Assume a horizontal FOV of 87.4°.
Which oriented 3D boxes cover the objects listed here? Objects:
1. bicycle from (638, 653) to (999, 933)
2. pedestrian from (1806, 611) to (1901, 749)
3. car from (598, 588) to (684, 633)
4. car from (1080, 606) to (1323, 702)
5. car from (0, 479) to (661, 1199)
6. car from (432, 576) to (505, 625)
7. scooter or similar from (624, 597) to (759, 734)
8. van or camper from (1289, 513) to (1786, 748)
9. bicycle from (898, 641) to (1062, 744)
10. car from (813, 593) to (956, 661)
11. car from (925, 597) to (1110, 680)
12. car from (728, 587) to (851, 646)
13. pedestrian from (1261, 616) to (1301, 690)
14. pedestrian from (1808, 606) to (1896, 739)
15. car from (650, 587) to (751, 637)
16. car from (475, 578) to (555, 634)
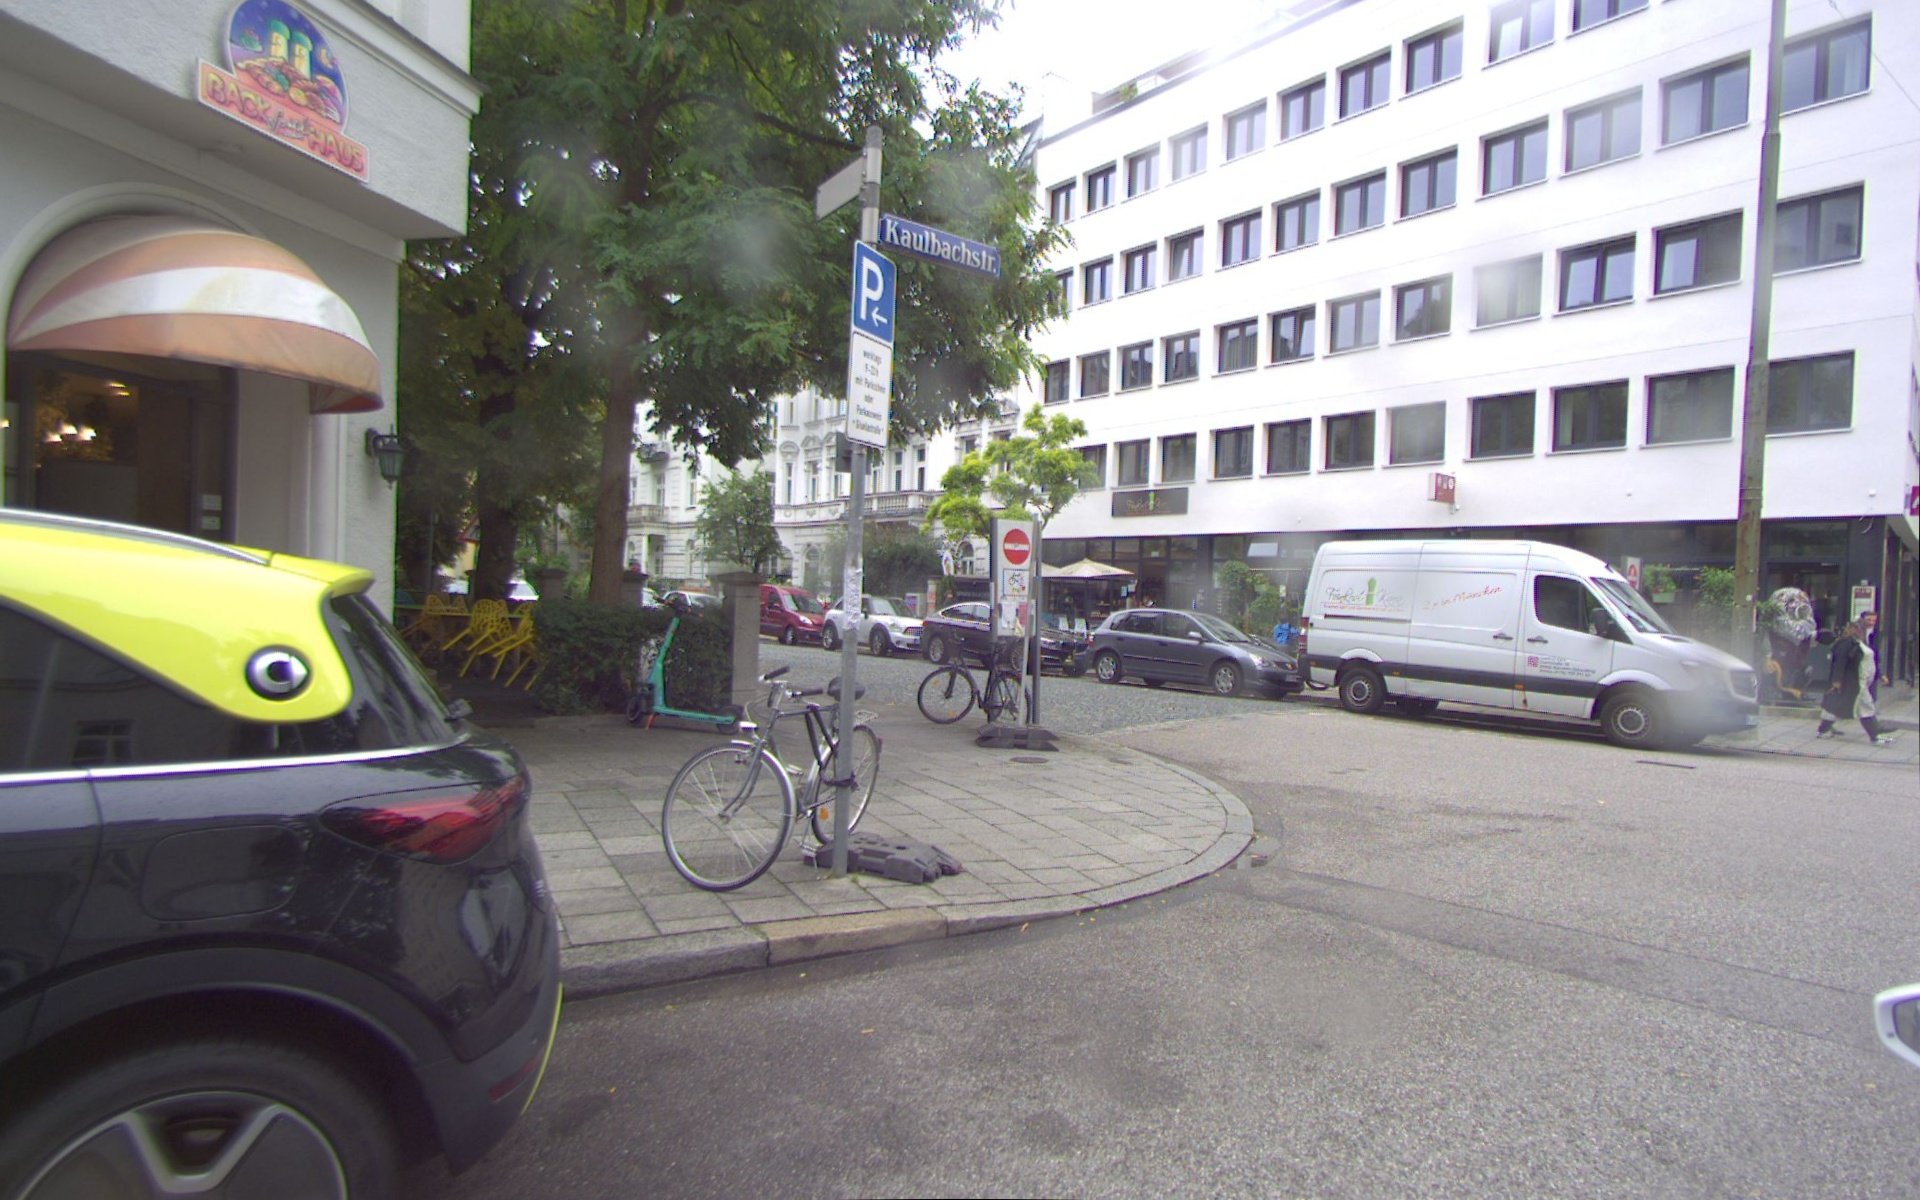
[{"bbox_3d":[-0.652,0.856,5.125,0.884,1.059,1.651,4,1,36],"label":"bicycle"},{"bbox_3d":[12.398,1.078,13.966,0.780,1.770,0.769,4,4,34],"label":"pedestrian"},{"bbox_3d":[-12.766,0.383,40.106,1.897,1.629,4.090,-1,2,-40],"label":"car"},{"bbox_3d":[4.355,0.957,18.554,1.788,1.447,4.014,5,-2,-43],"label":"car"},{"bbox_3d":[-2.739,0.597,1.853,3.899,1.618,1.669,2,-2,-30],"label":"car"},{"bbox_3d":[-18.981,-0.017,38.701,1.830,1.796,3.957,0,1,-37],"label":"car"},{"bbox_3d":[-2.580,0.623,9.632,1.169,1.232,0.554,2,2,-18],"label":"scooter or similar"},{"bbox_3d":[7.882,0.345,14.439,1.858,2.712,5.857,4,-1,-39],"label":"van or camper"},{"bbox_3d":[0.218,0.995,11.207,1.537,0.959,0.897,4,0,34],"label":"bicycle"},{"bbox_3d":[-2.076,0.665,26.530,1.784,1.564,4.094,4,-1,-37],"label":"car"},{"bbox_3d":[1.177,0.810,22.276,1.784,1.564,4.092,4,-1,-38],"label":"car"},{"bbox_3d":[-5.276,0.481,30.741,1.897,1.629,4.090,2,0,-40],"label":"car"},{"bbox_3d":[6.851,1.119,21.443,0.580,1.501,0.653,4,0,4],"label":"pedestrian"},{"bbox_3d":[12.915,1.019,14.566,0.767,1.808,0.617,4,4,34],"label":"pedestrian"},{"bbox_3d":[-9.239,0.404,35.549,1.897,1.629,4.090,2,0,-40],"label":"car"},{"bbox_3d":[-14.710,0.178,33.102,1.891,1.629,4.104,4,-2,-31],"label":"car"}]
